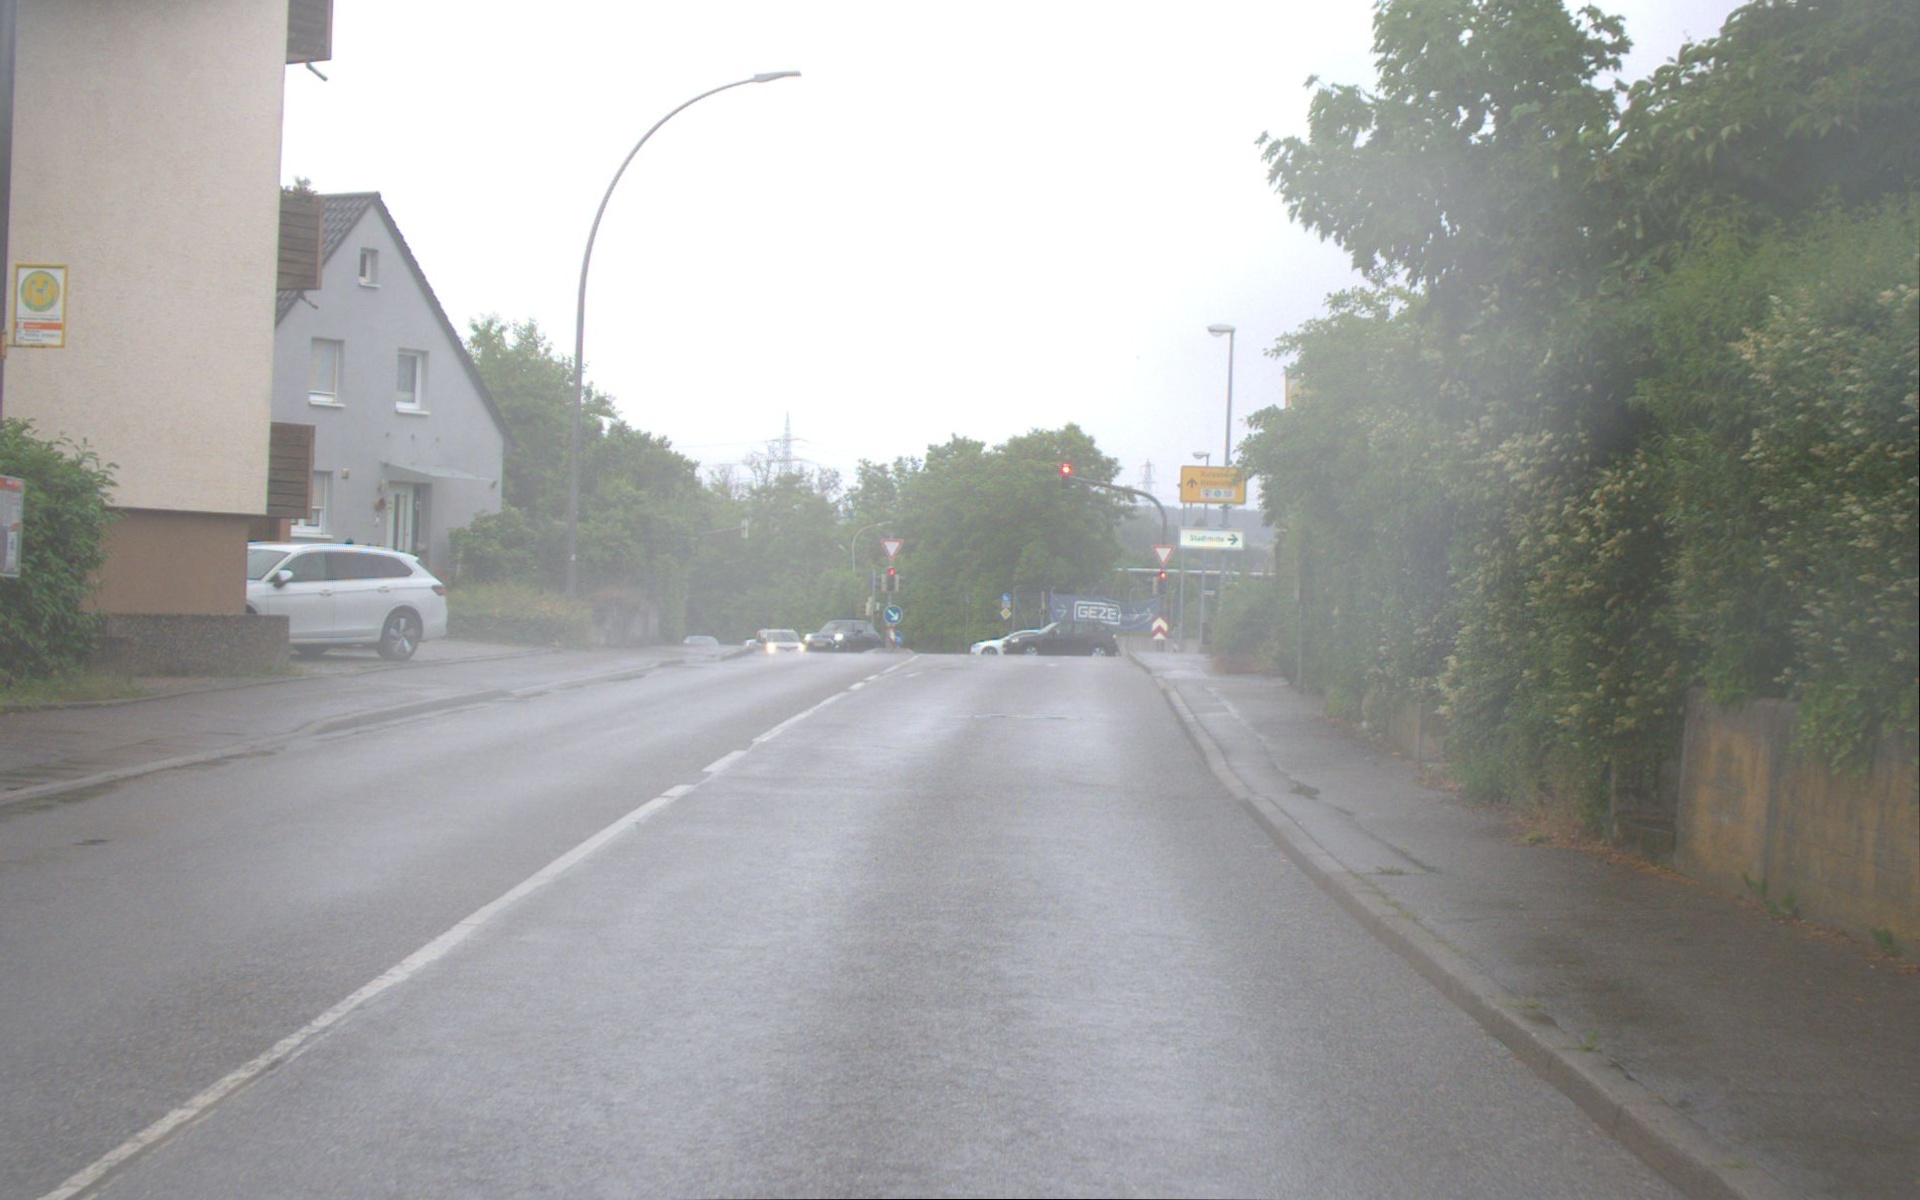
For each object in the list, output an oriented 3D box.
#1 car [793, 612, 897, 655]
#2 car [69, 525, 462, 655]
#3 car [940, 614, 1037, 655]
[{"bbox_3d":[-4.240,1.252,127.349,1.808,1.518,3.992,2,0,34],"label":"car"},{"bbox_3d":[-8.764,-0.107,43.777,1.905,1.472,4.872,4,2,35],"label":"car"},{"bbox_3d":[1.197,1.431,144.536,3.987,1.612,1.944,0,2,4],"label":"car"}]
